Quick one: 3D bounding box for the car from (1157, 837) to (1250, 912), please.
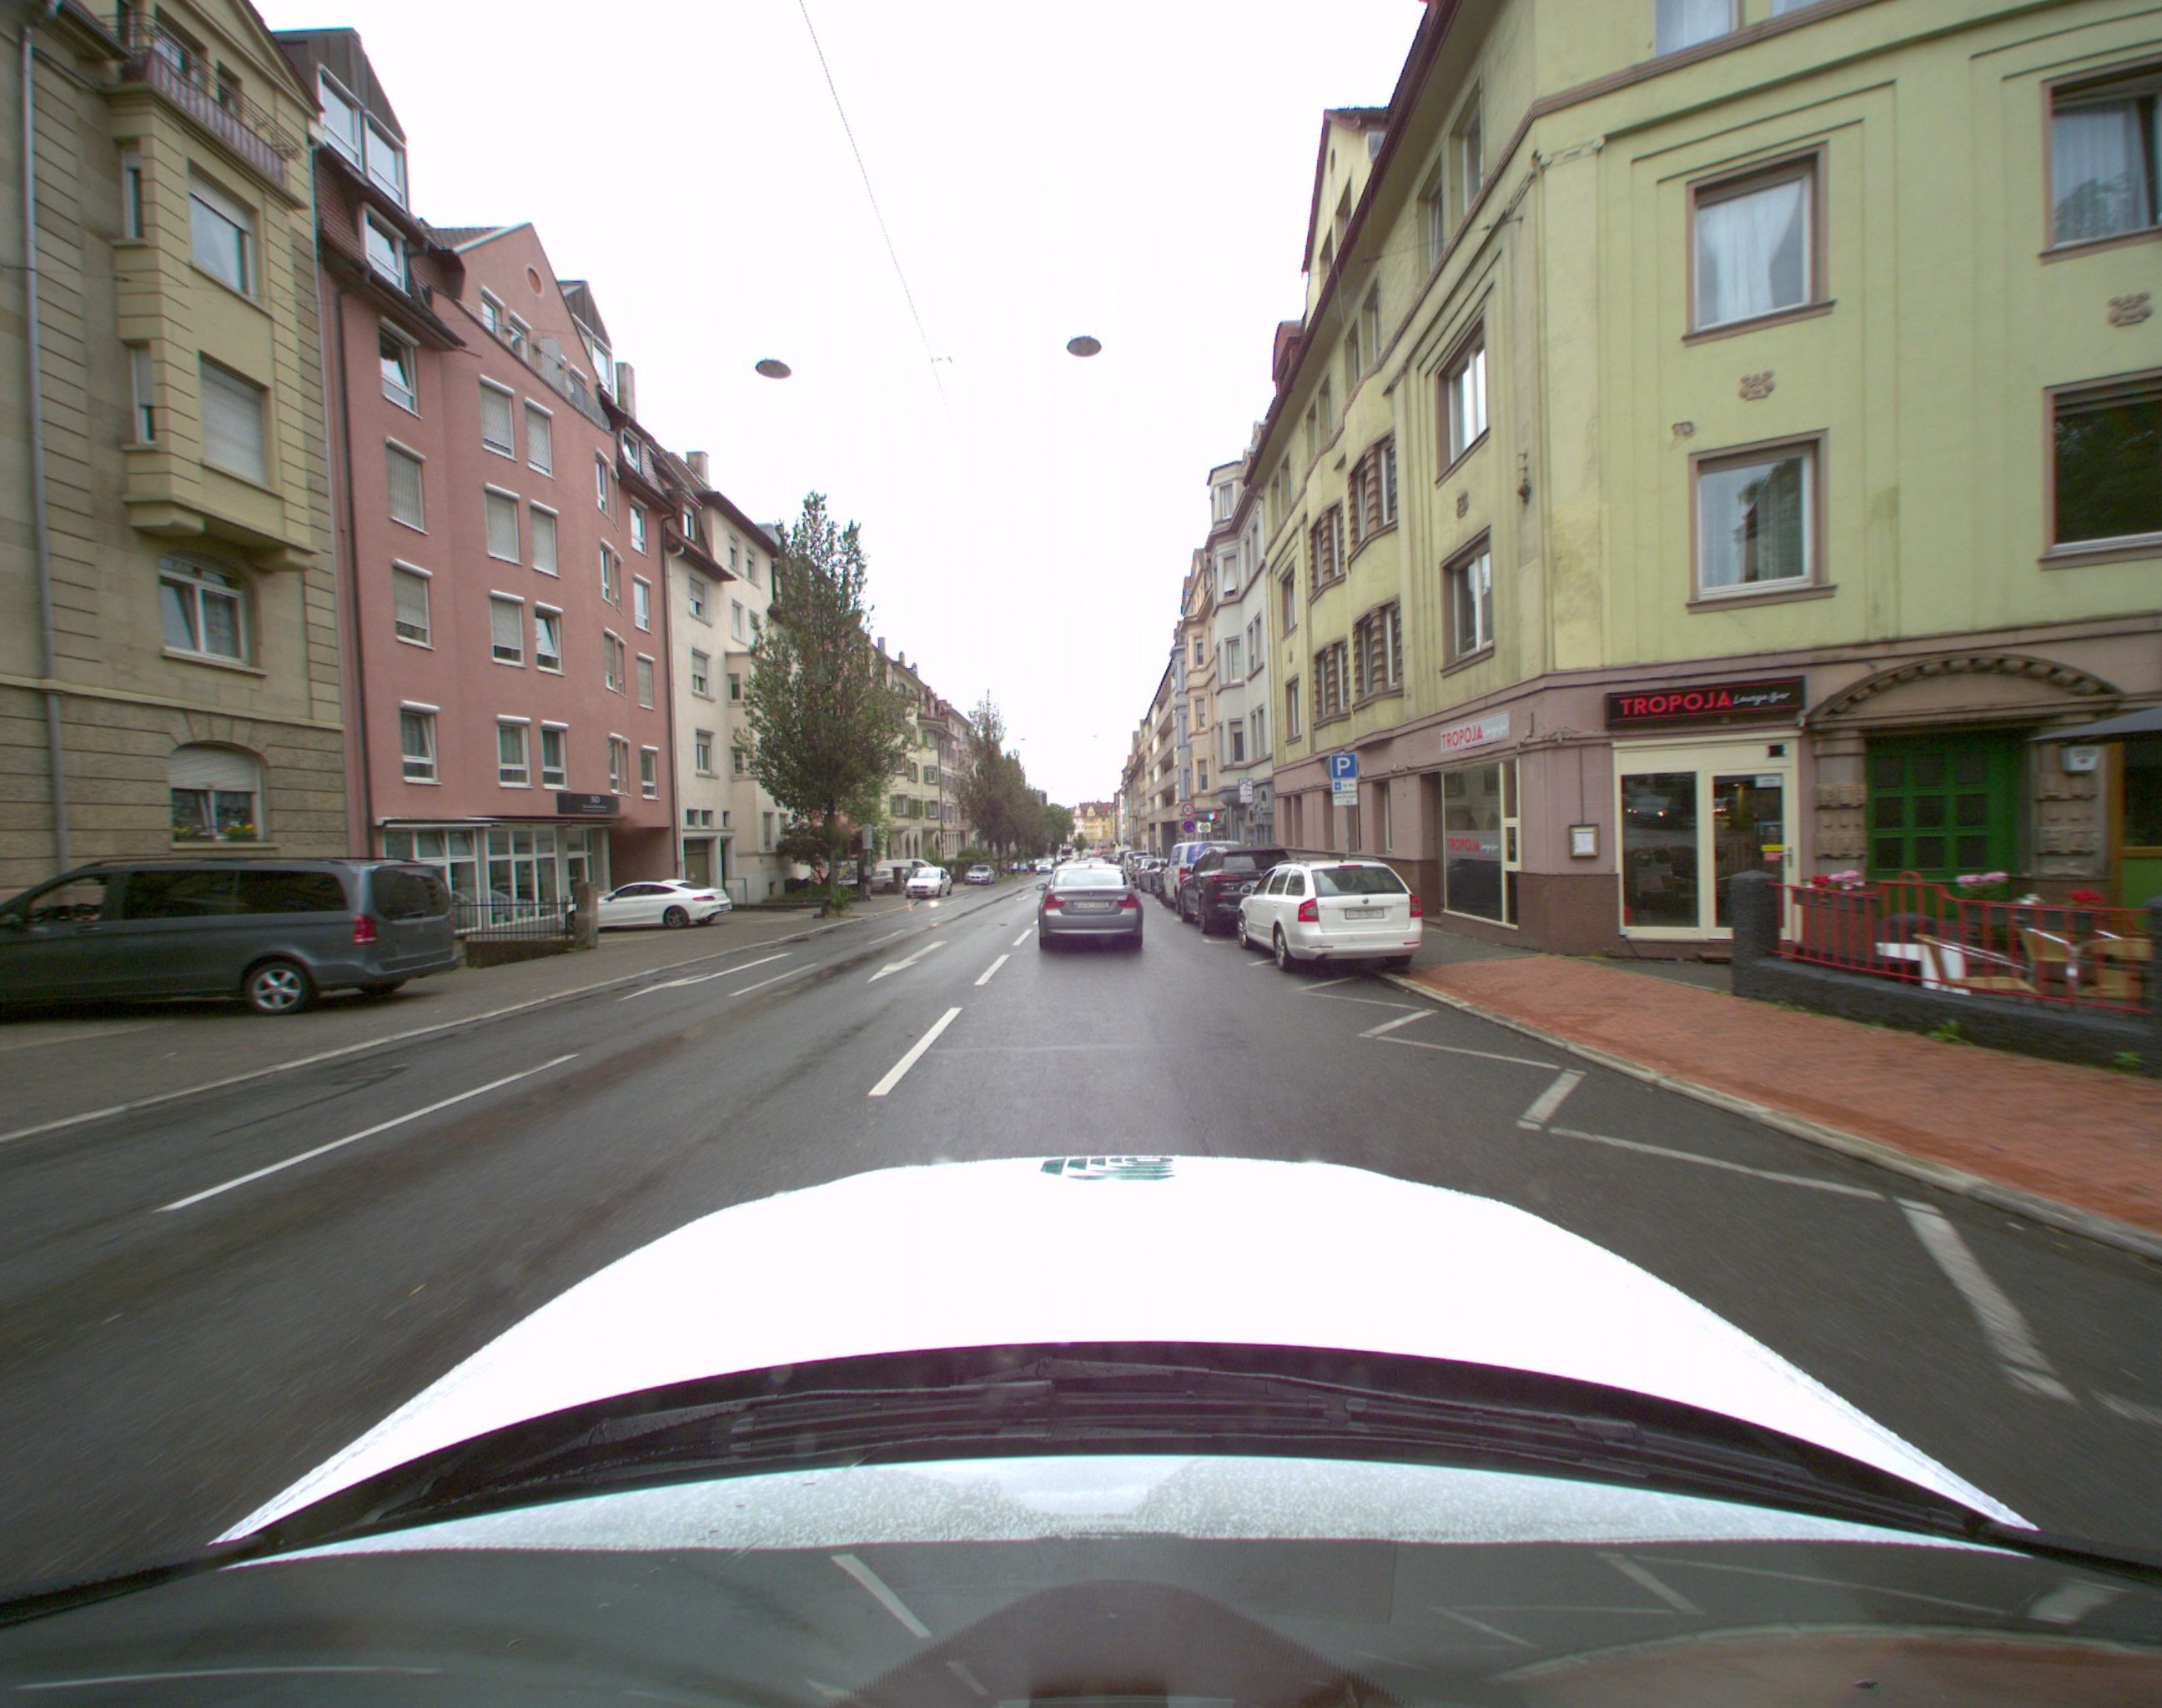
[{"bbox_3d":[3.398,0.546,23.494,1.913,1.827,5.010,-3,0,1],"label":"car"}]

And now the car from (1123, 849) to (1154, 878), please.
[{"bbox_3d":[4.308,0.734,61.891,1.975,2.007,4.625,-3,0,1],"label":"car"}]

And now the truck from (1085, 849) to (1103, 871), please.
[{"bbox_3d":[1.471,0.661,92.400,2.025,2.412,4.826,-1,-1,0],"label":"truck"}]

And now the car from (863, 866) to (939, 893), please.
[{"bbox_3d":[-11.576,1.619,52.605,4.420,1.451,1.791,-3,0,-2],"label":"car"}]

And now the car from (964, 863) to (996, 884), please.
[{"bbox_3d":[-7.360,1.439,59.921,1.720,1.484,3.990,0,-1,2],"label":"car"}]

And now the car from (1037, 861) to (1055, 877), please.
[{"bbox_3d":[-3.731,1.594,88.027,1.630,1.508,3.755,-5,0,1],"label":"car"}]

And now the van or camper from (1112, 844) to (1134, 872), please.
[{"bbox_3d":[4.538,0.378,87.020,2.024,2.869,6.894,1,0,5],"label":"van or camper"}]

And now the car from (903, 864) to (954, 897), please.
[{"bbox_3d":[-7.492,1.265,40.355,1.615,1.446,4.007,-2,0,2],"label":"car"}]

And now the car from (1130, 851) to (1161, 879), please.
[{"bbox_3d":[4.355,0.733,55.182,1.720,1.670,4.289,-4,0,1],"label":"car"}]

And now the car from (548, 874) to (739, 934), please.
[{"bbox_3d":[-12.642,1.424,23.725,4.532,1.401,1.768,-3,0,0],"label":"car"}]

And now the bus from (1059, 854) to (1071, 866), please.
[{"bbox_3d":[-4.300,1.611,217.758,2.659,3.024,7.671,-3,0,1],"label":"bus"}]

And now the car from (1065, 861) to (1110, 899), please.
[{"bbox_3d":[0.311,1.012,33.243,1.675,1.428,3.743,-1,-1,2],"label":"car"}]

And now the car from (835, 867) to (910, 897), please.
[{"bbox_3d":[-11.883,1.577,46.611,3.877,1.457,1.788,-3,0,-7],"label":"car"}]

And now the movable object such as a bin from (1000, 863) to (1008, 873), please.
[{"bbox_3d":[-7.193,1.309,76.172,0.575,0.912,0.637,-3,0,-13],"label":"movable object such as a bin"}]

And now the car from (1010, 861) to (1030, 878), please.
[{"bbox_3d":[-6.586,1.688,88.543,1.761,1.594,3.999,-4,0,0],"label":"car"}]

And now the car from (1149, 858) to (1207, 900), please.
[{"bbox_3d":[3.442,0.834,29.513,1.671,1.375,4.276,-1,0,1],"label":"car"}]

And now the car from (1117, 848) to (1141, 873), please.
[{"bbox_3d":[4.468,0.558,76.541,1.975,2.166,4.750,-3,0,1],"label":"car"}]

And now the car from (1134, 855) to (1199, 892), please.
[{"bbox_3d":[3.563,0.792,34.917,1.872,1.467,4.766,-1,0,-5],"label":"car"}]

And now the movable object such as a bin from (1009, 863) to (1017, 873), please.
[{"bbox_3d":[-6.371,1.276,76.333,0.575,0.912,0.637,-3,0,-13],"label":"movable object such as a bin"}]

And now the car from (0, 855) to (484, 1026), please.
[{"bbox_3d":[-10.825,0.989,10.511,4.673,1.938,1.858,0,0,-9],"label":"car"}]

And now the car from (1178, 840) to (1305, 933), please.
[{"bbox_3d":[3.268,0.614,17.509,1.872,1.731,4.677,0,0,1],"label":"car"}]

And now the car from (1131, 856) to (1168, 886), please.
[{"bbox_3d":[3.482,0.836,41.776,1.606,1.474,4.016,-1,0,1],"label":"car"}]

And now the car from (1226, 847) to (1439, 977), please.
[{"bbox_3d":[3.466,0.713,12.172,1.793,1.565,4.492,0,0,0],"label":"car"}]

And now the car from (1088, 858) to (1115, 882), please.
[{"bbox_3d":[1.283,1.028,52.274,1.692,1.483,3.793,-1,-1,0],"label":"car"}]

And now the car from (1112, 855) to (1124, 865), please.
[{"bbox_3d":[5.628,0.906,125.093,1.692,1.483,3.975,-1,-1,0],"label":"car"}]

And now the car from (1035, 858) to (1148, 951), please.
[{"bbox_3d":[0.175,0.804,14.634,1.763,1.428,3.740,-1,-1,0],"label":"car"}]

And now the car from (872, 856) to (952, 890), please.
[{"bbox_3d":[-11.337,1.265,54.855,4.812,1.974,2.048,-3,0,0],"label":"car"}]
